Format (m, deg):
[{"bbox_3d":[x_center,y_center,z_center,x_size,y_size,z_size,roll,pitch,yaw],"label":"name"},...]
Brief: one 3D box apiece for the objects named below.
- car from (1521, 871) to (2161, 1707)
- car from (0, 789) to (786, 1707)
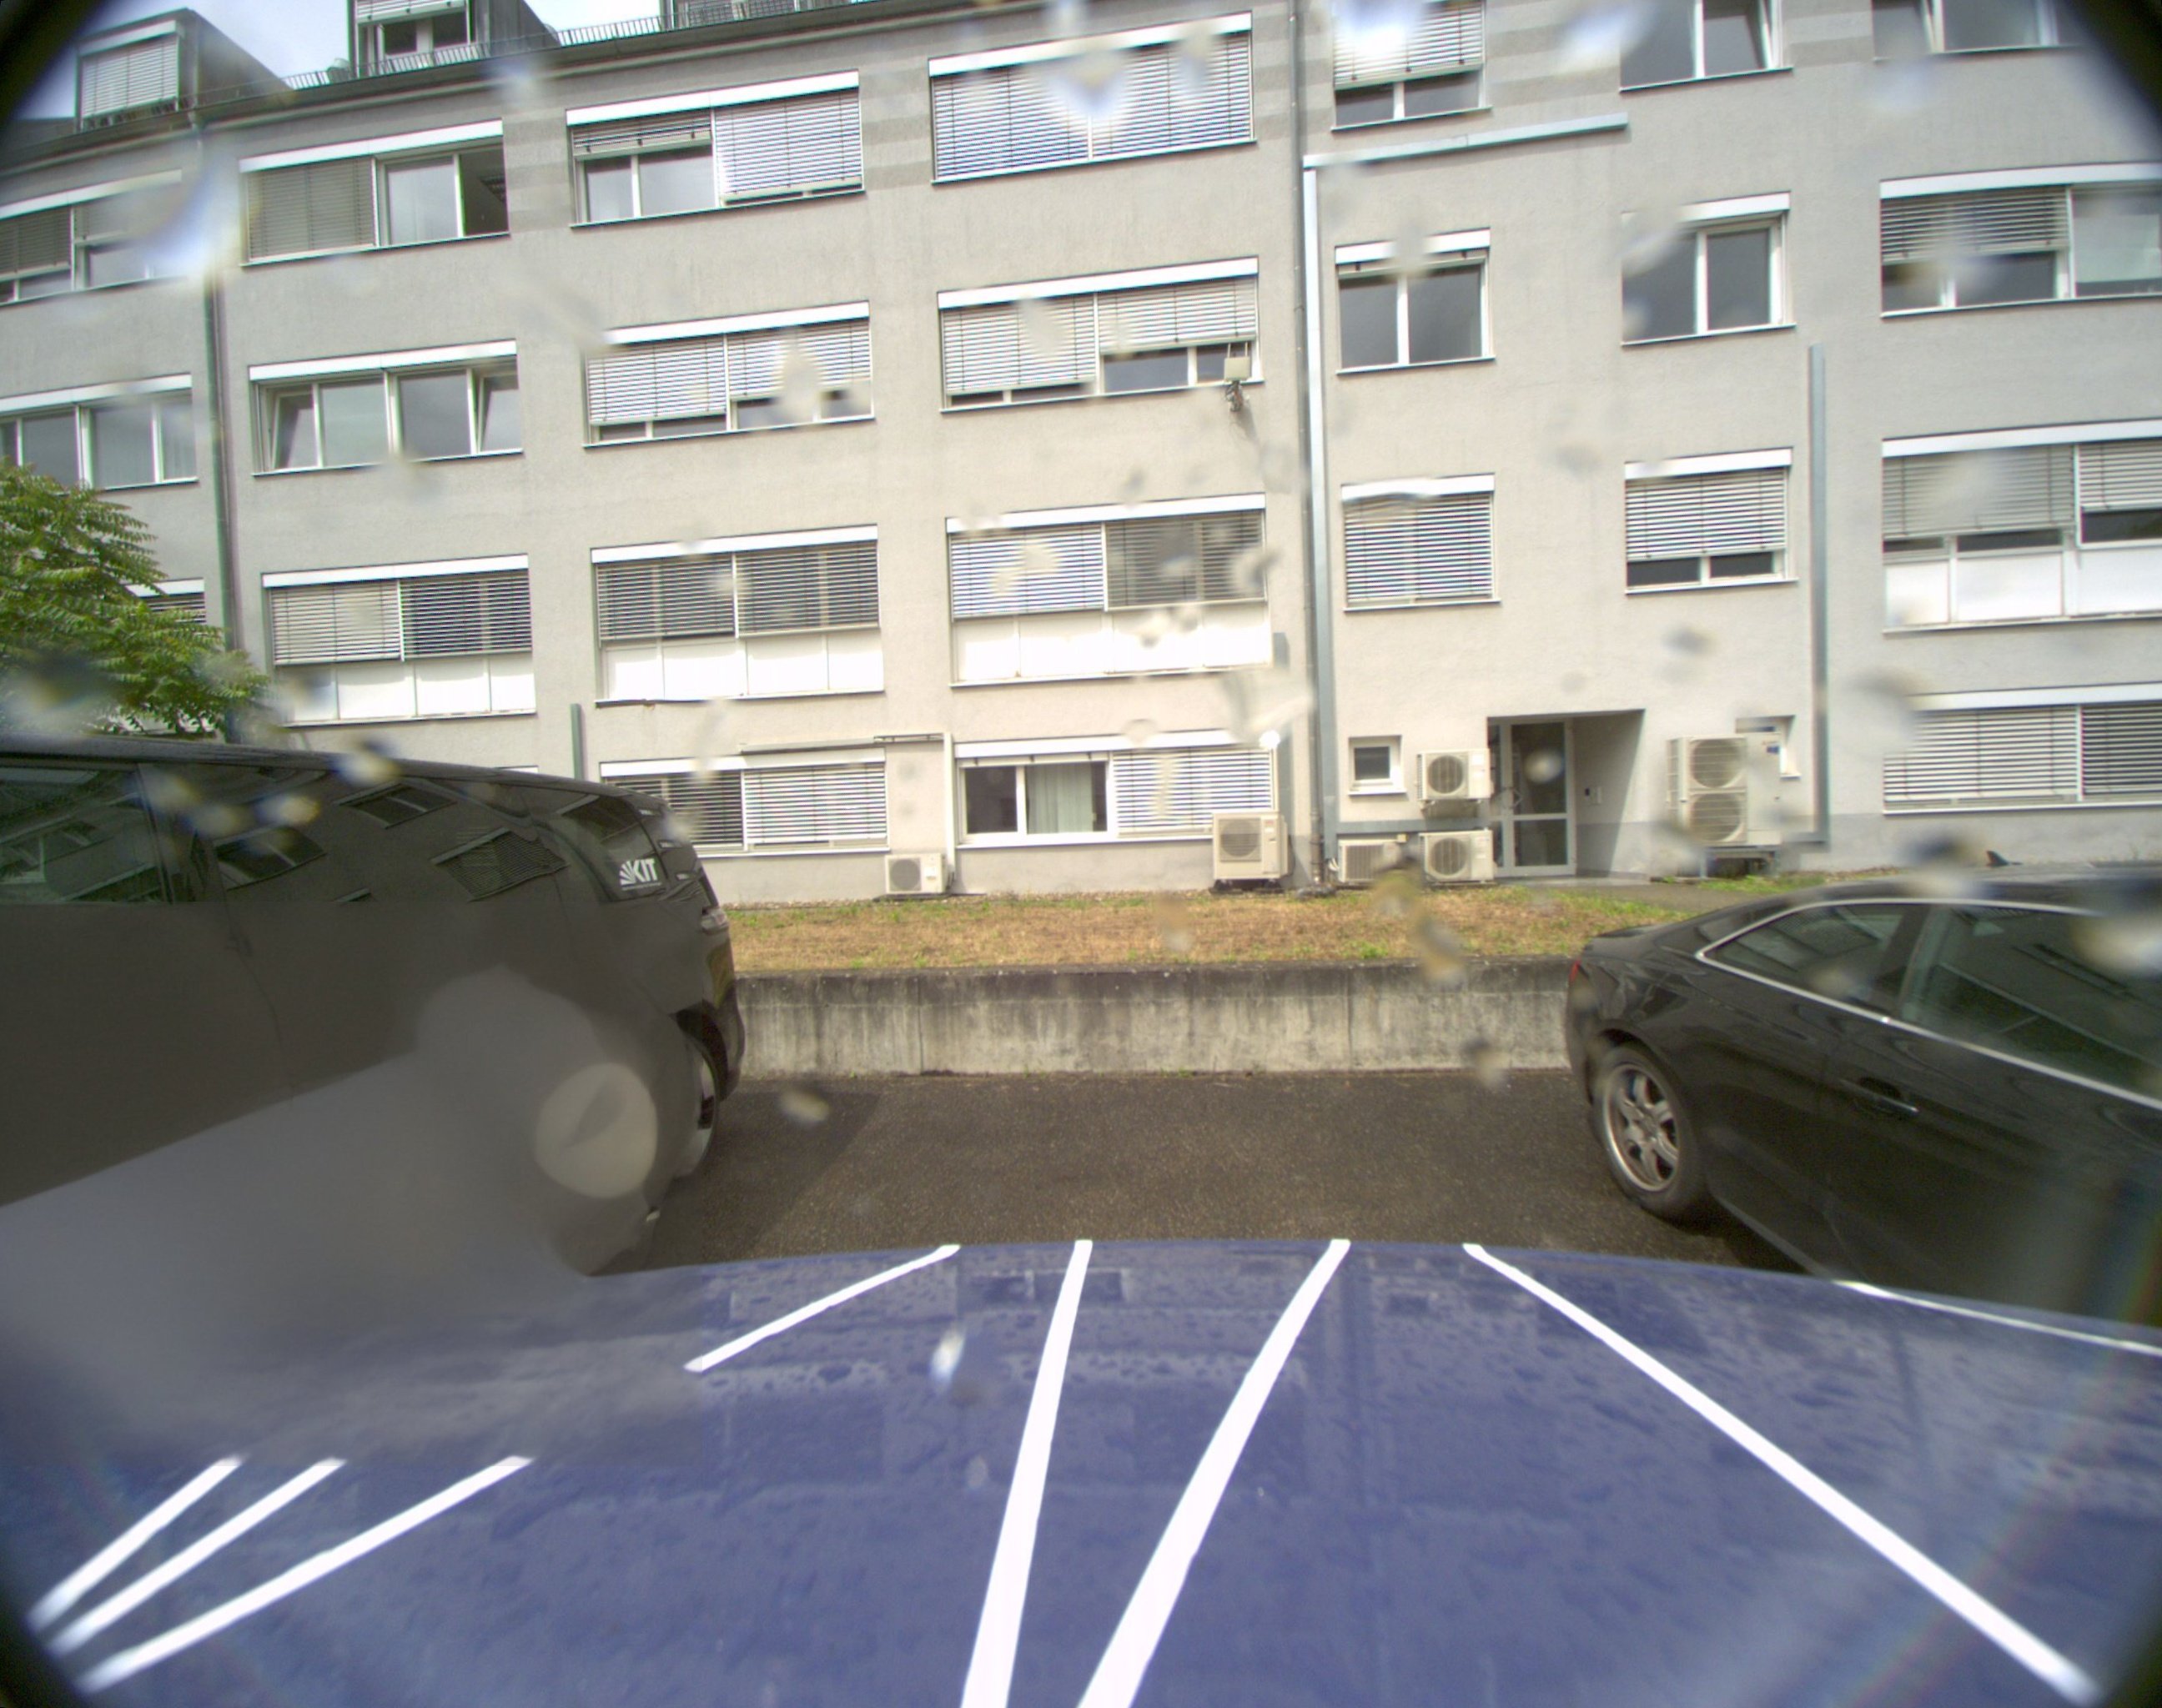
[{"bbox_3d":[2.810,0.870,1.406,1.761,1.344,4.530,-3,2,6],"label":"car"},{"bbox_3d":[-2.863,0.836,1.889,1.968,1.854,4.748,-2,2,5],"label":"car"}]
